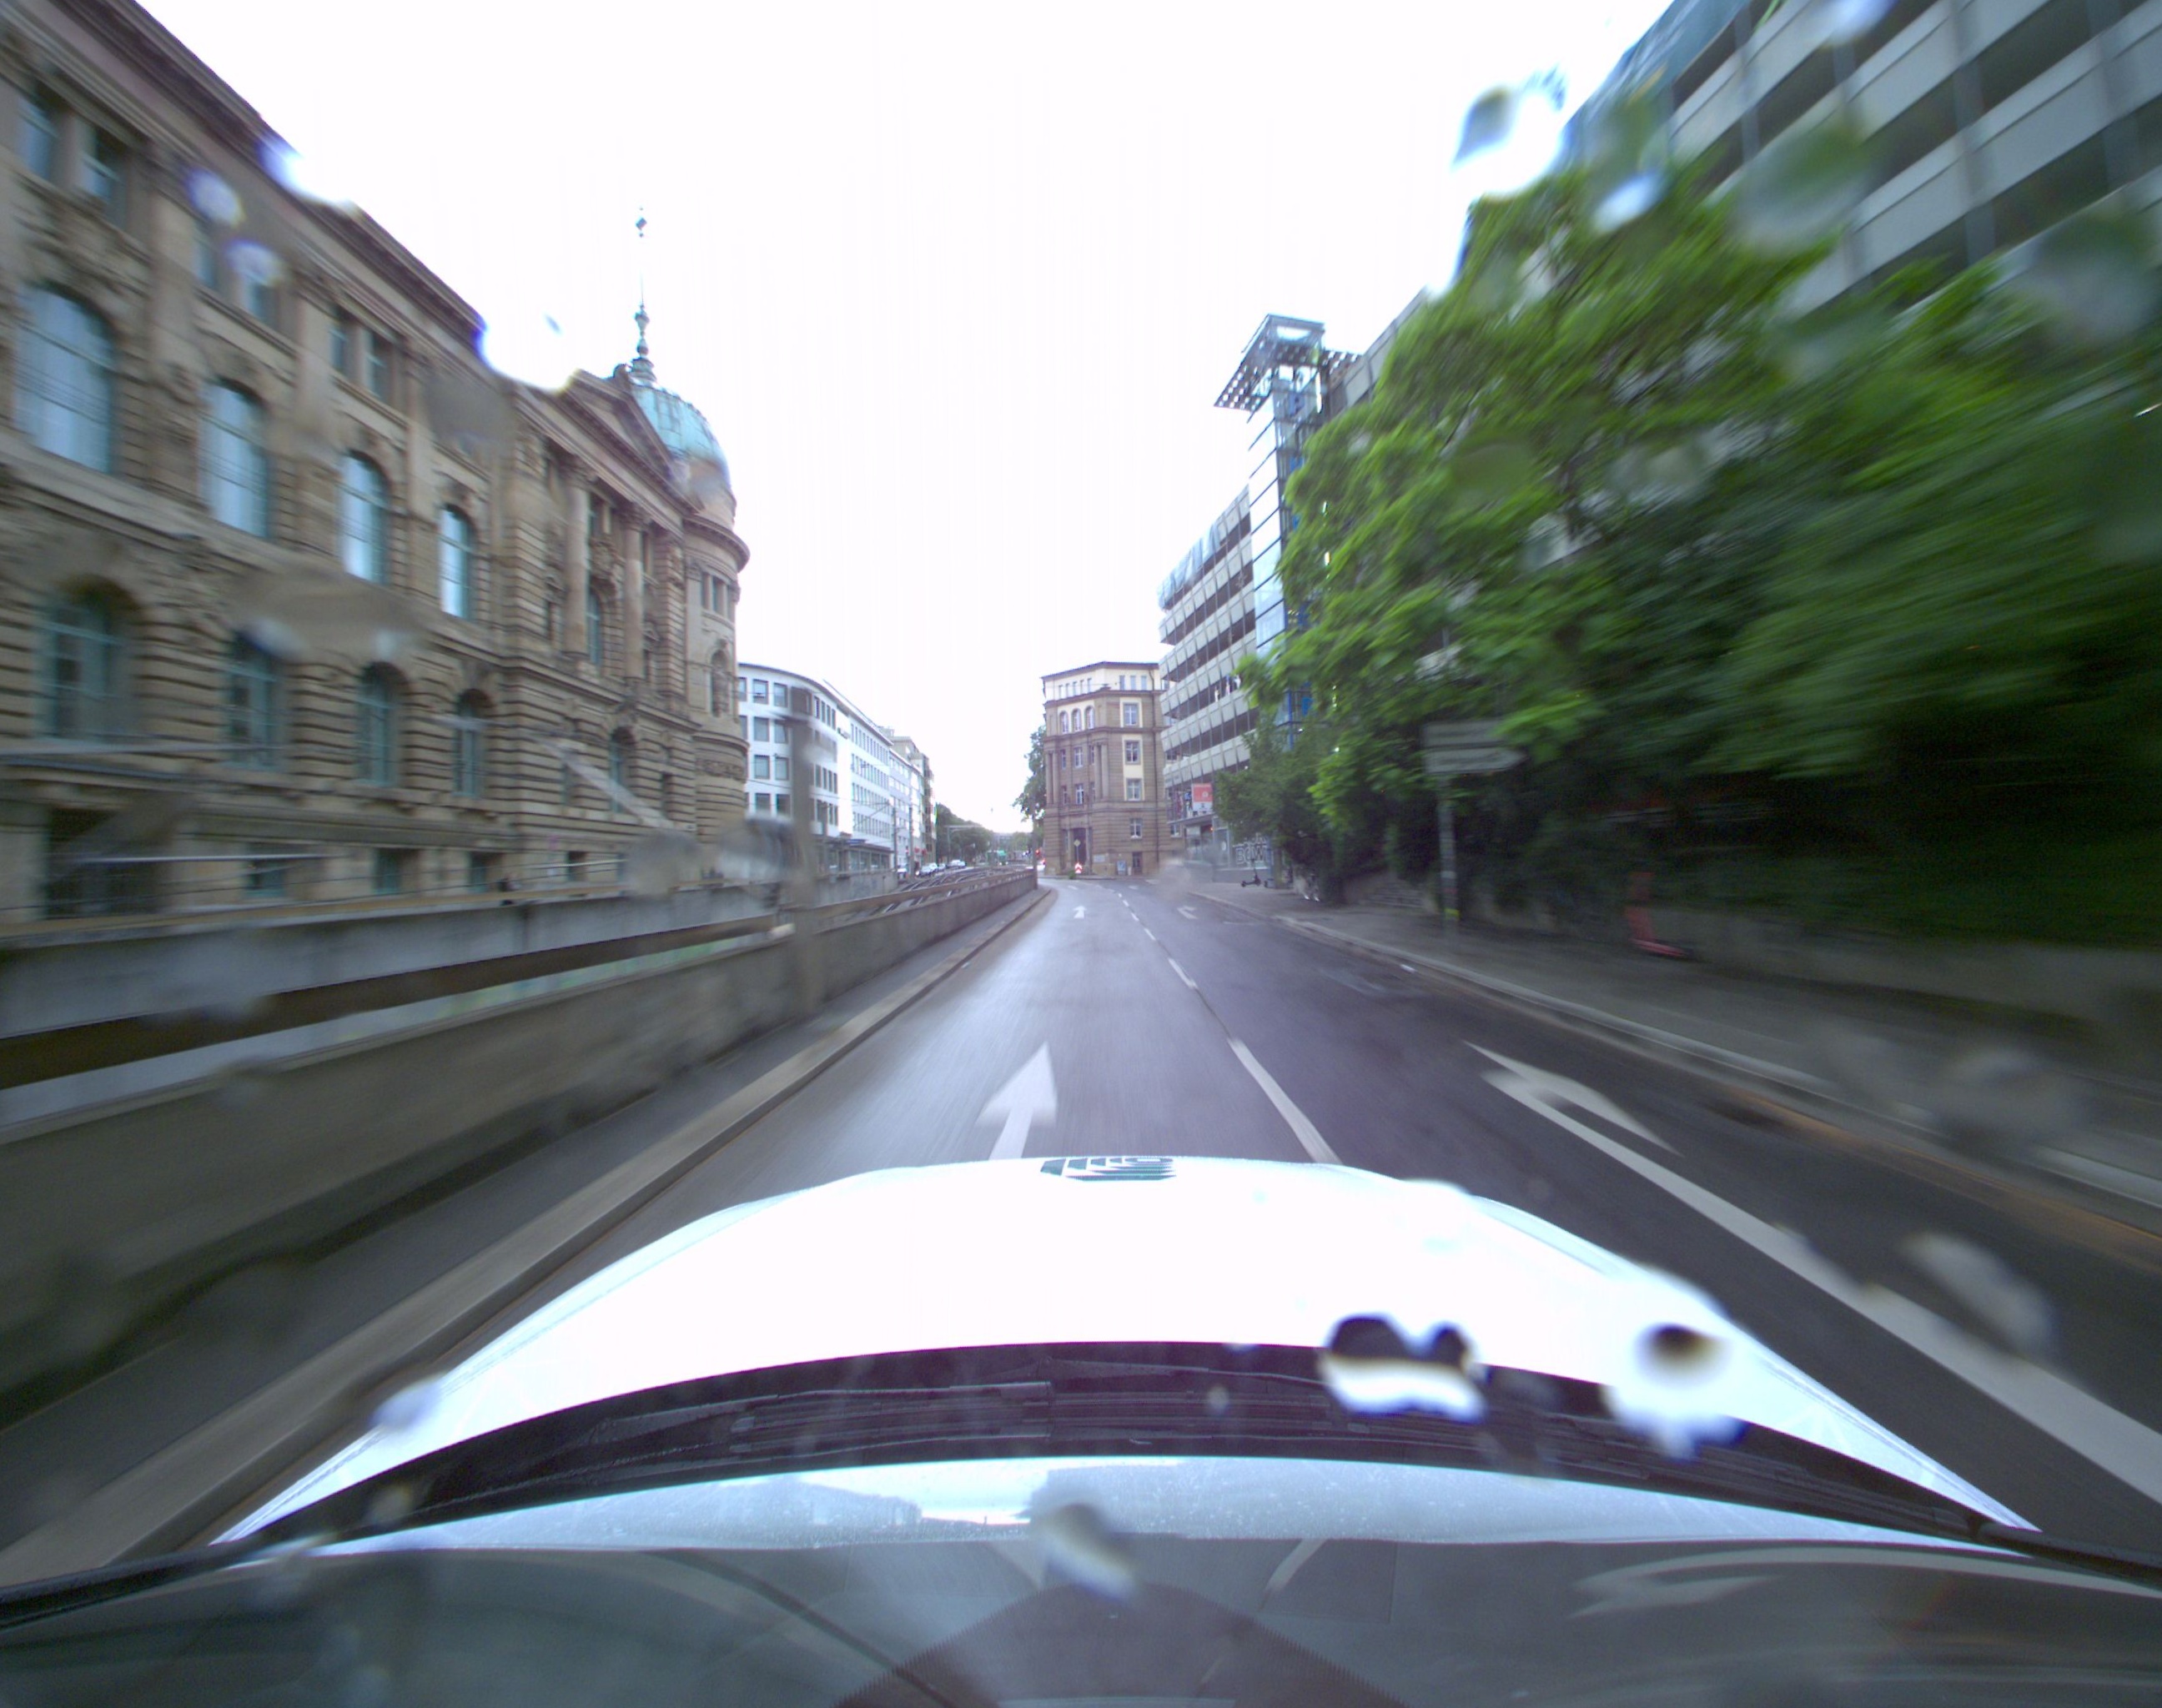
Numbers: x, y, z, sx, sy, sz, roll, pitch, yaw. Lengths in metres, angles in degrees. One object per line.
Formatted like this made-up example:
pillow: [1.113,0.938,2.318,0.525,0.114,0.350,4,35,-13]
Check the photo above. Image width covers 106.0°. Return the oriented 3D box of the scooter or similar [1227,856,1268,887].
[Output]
scooter or similar: [7.548,0.771,36.940,1.643,1.267,0.737,-4,0,-24]

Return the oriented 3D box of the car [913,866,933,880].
car: [-19.235,2.297,99.312,1.990,1.527,3.657,-2,0,-4]

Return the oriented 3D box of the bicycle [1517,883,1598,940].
bicycle: [7.192,0.848,12.337,0.499,0.754,1.211,-4,0,1]

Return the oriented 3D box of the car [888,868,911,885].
car: [-22.341,2.738,100.356,1.990,1.883,4.920,-2,0,-4]

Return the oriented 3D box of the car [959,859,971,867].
car: [-23.435,1.851,164.267,1.990,1.456,4.305,-2,0,-4]

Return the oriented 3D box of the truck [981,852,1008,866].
truck: [-21.898,1.247,205.994,7.827,3.387,2.012,0,-1,41]

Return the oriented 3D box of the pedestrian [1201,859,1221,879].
pedestrian: [7.512,0.877,47.115,0.753,1.123,1.241,-1,-1,-13]

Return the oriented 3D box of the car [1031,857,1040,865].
car: [-10.308,1.574,183.321,1.990,1.662,3.994,-2,0,-4]

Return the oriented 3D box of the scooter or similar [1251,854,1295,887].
scooter or similar: [8.099,0.686,34.383,1.643,1.267,0.737,-4,0,-24]

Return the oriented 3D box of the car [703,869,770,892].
car: [-28.964,2.220,68.508,4.805,1.522,1.656,-4,-1,-40]

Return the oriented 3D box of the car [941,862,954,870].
car: [-24.879,2.245,151.903,1.990,1.456,4.305,-2,0,-4]

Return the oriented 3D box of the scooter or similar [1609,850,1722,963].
scooter or similar: [7.101,0.604,9.955,0.445,1.259,1.211,-4,0,1]

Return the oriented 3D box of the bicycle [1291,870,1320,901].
bicycle: [7.028,0.967,25.571,0.468,0.885,1.690,-3,-1,2]

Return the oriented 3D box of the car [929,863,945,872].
car: [-23.928,2.179,135.374,1.990,1.456,4.305,-2,0,-4]
